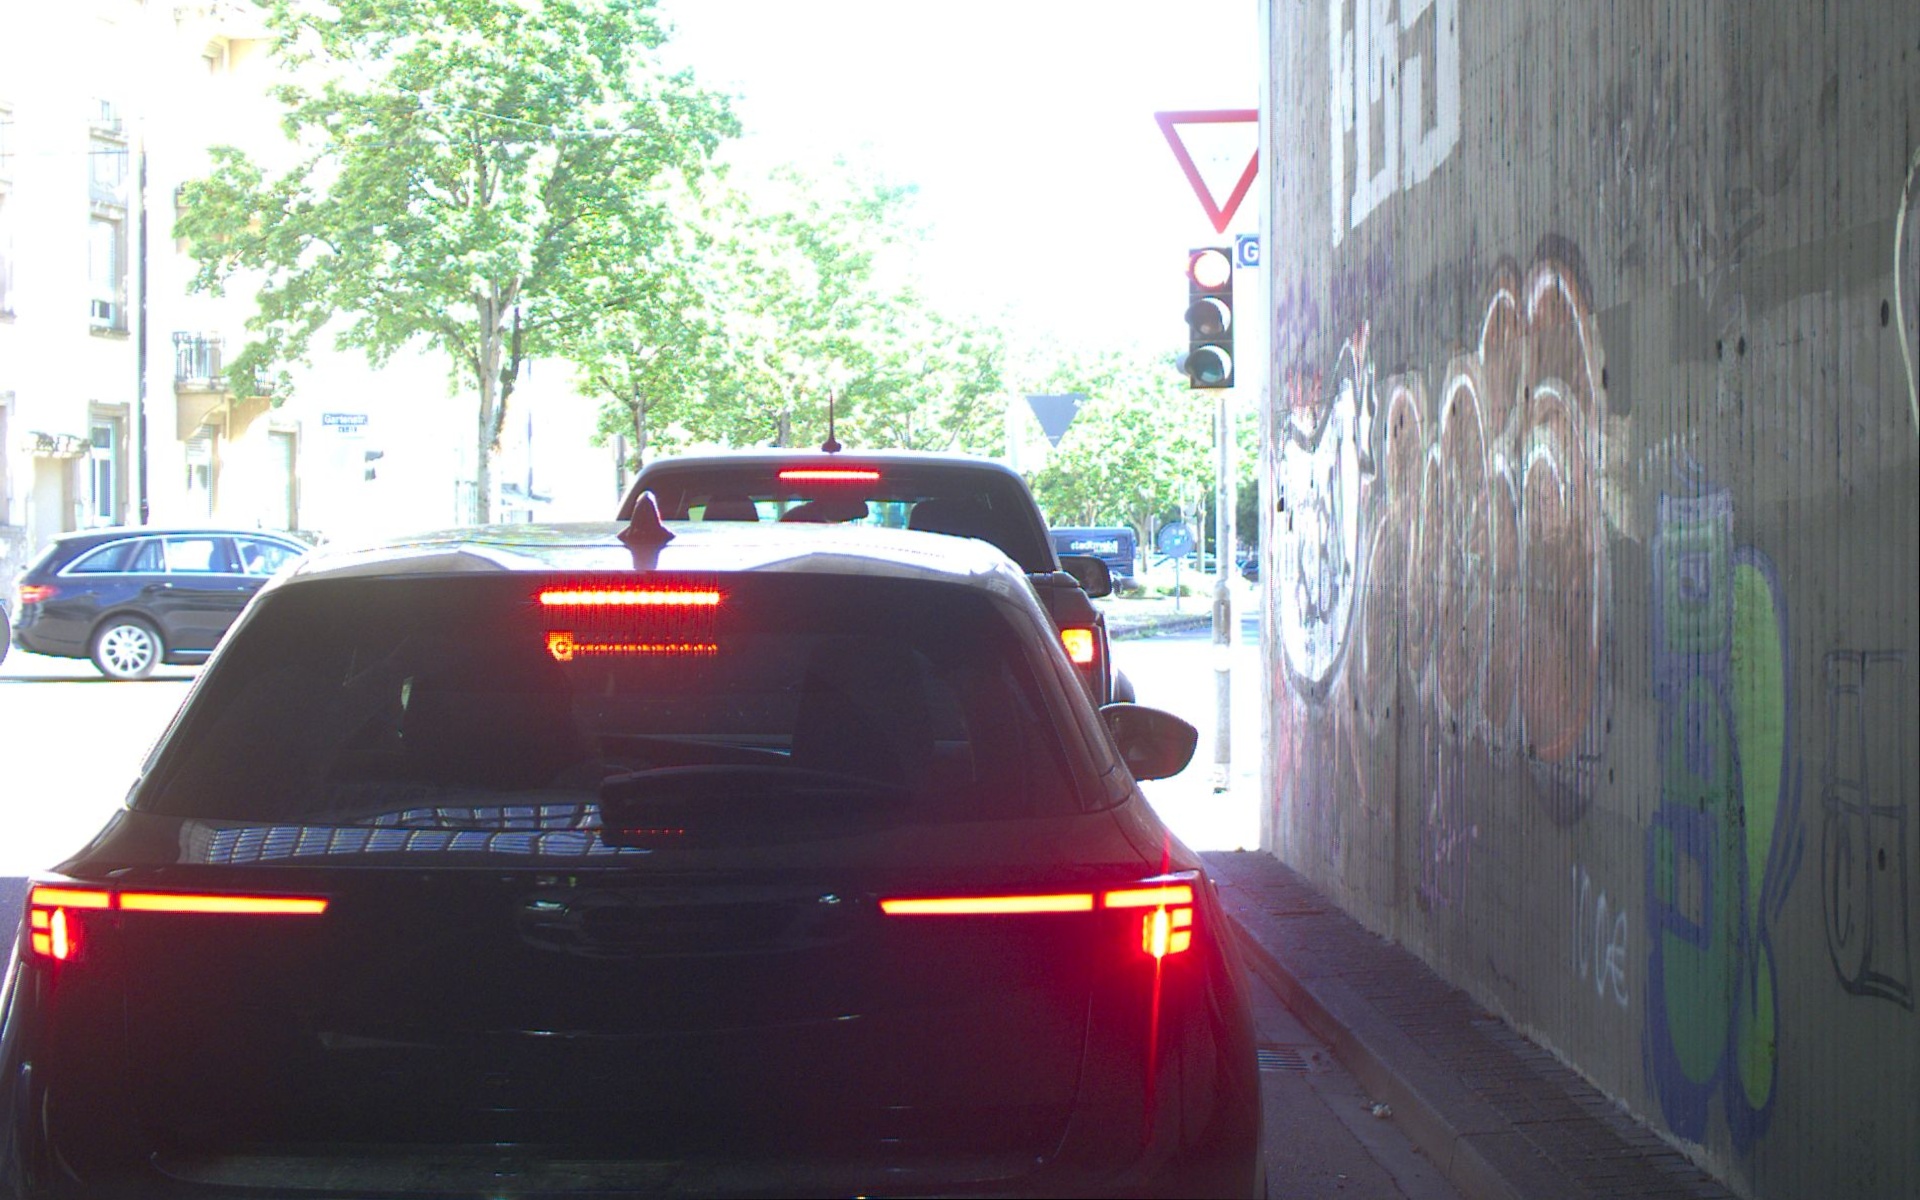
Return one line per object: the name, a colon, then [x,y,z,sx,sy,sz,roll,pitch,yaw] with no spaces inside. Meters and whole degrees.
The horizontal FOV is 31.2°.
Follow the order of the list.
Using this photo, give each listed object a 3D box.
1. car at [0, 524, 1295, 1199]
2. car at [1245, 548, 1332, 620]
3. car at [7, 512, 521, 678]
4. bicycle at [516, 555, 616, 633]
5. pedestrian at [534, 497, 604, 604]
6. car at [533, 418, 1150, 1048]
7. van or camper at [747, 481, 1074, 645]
car: [-0.491,0.628,6.181,1.753,1.493,4.000,1,1,0]
car: [7.856,-0.396,82.020,1.994,1.635,4.592,0,1,6]
car: [-6.732,-0.080,33.159,4.717,1.529,2.001,0,1,-15]
bicycle: [-5.865,-0.104,51.320,0.737,1.126,2.025,0,1,17]
pedestrian: [-5.840,-0.738,51.395,0.736,1.579,0.889,1,0,15]
car: [-0.363,0.353,12.049,1.786,1.827,3.961,1,1,0]
van or camper: [-0.590,-0.466,43.414,3.878,2.007,2.000,0,1,7]
